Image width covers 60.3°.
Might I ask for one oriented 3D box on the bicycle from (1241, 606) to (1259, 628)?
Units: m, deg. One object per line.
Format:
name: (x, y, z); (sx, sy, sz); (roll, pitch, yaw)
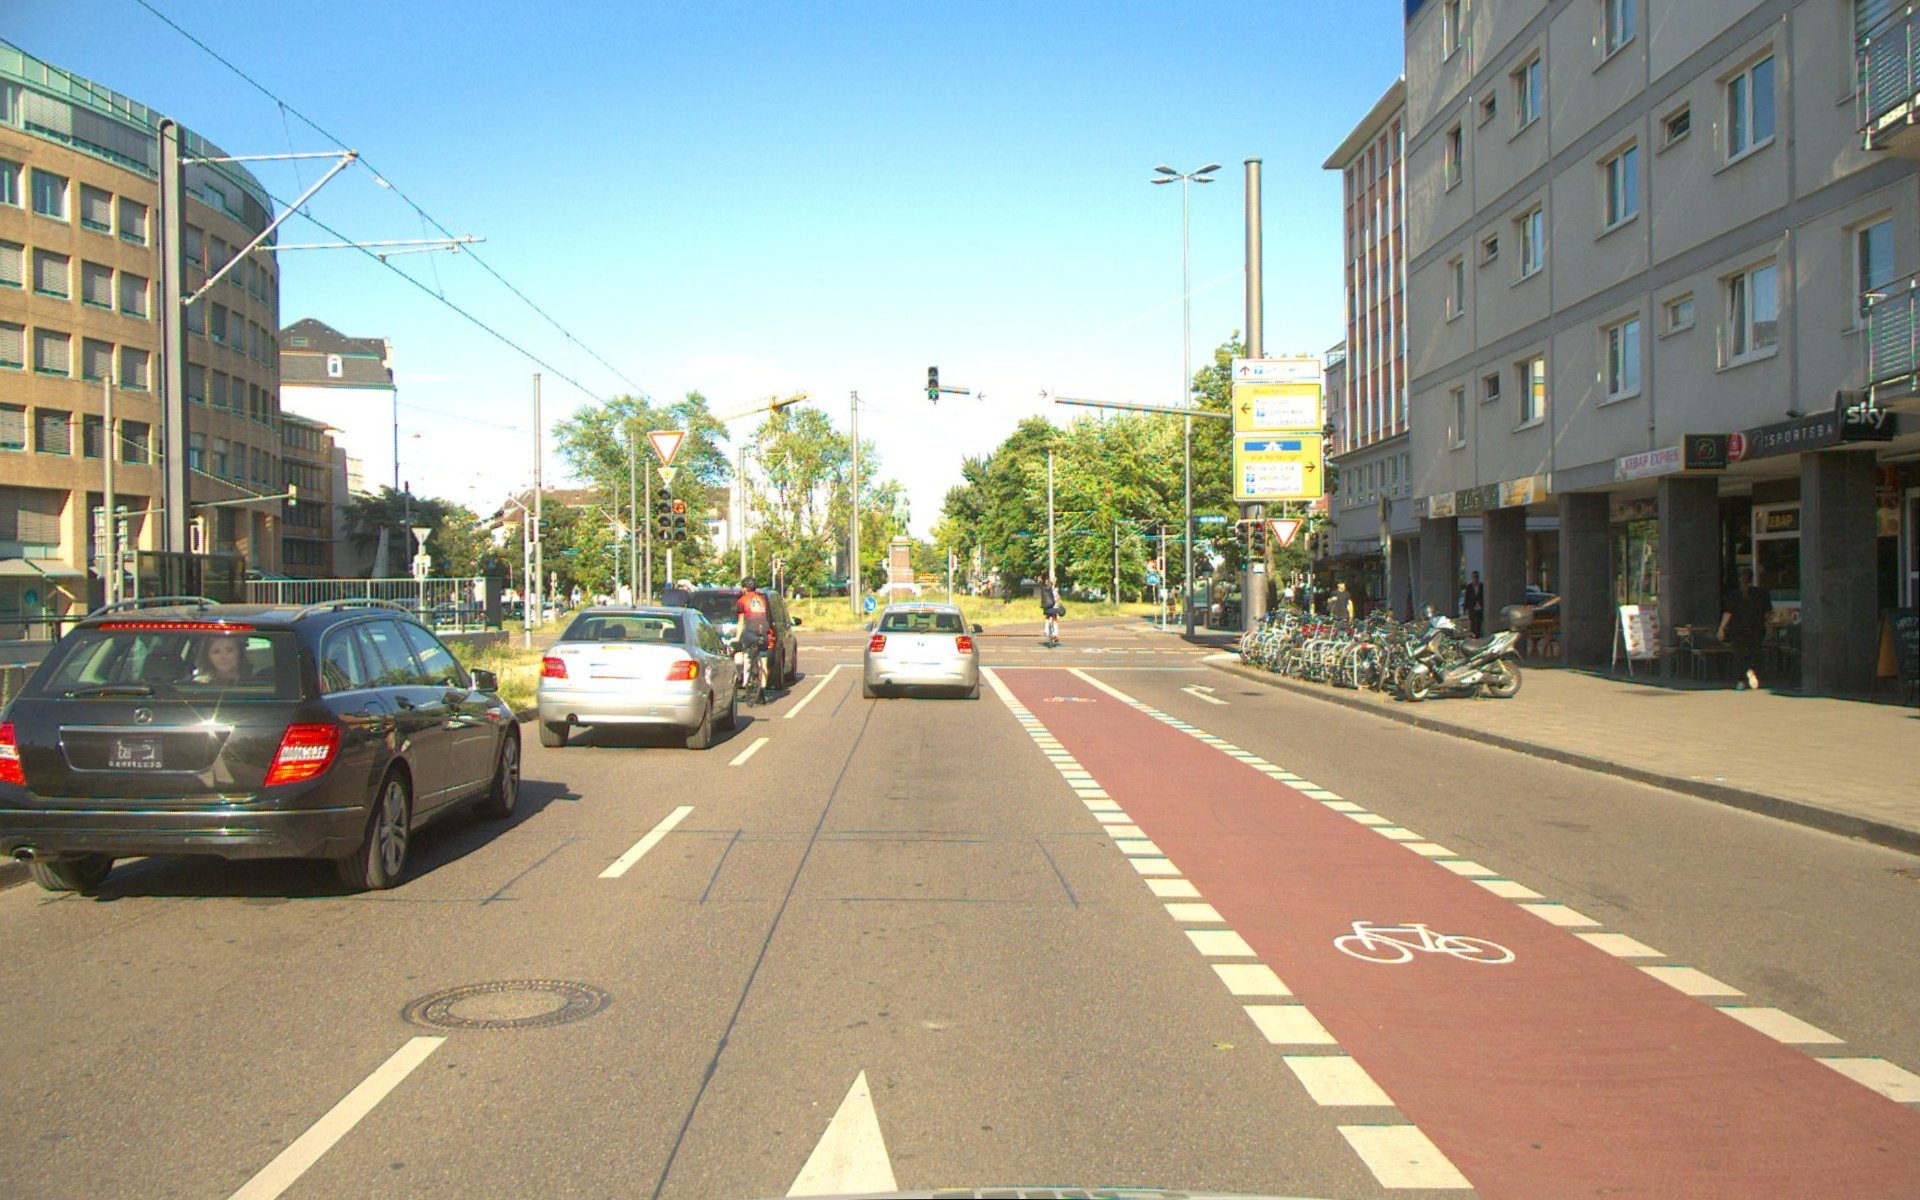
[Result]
bicycle: (13.410, 0.774, 76.625); (0.408, 1.026, 1.944); (1, 0, -2)

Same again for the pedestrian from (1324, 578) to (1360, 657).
pedestrian: (10.041, 0.454, 43.520); (0.774, 2.049, 0.870); (1, 0, 6)

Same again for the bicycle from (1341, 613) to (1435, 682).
bicycle: (6.947, 0.766, 26.847); (1.435, 1.086, 0.257); (-1, -1, 1)

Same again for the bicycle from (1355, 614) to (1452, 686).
bicycle: (6.980, 0.786, 26.059); (1.435, 1.086, 0.257); (-1, -1, 1)

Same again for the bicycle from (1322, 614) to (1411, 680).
bicycle: (6.958, 0.799, 28.304); (1.435, 1.086, 0.257); (-1, -1, 1)

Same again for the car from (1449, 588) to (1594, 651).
car: (19.188, 0.664, 56.609); (4.272, 2.049, 1.972); (1, 0, 0)

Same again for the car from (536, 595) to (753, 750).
car: (-3.233, 0.691, 17.645); (1.611, 1.446, 3.999); (1, 0, -1)

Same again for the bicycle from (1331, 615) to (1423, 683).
bicycle: (6.957, 0.820, 27.604); (1.435, 1.086, 0.257); (-1, -1, 1)

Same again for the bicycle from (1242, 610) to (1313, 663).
bicycle: (6.718, 0.764, 35.014); (1.435, 1.086, 0.257); (-1, -1, 1)

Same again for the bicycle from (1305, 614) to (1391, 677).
bicycle: (6.880, 0.802, 29.359); (1.435, 1.086, 0.257); (-1, -1, 1)

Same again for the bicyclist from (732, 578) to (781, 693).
bicyclist: (-2.885, 0.496, 23.412); (0.606, 1.599, 0.684); (0, 0, -13)

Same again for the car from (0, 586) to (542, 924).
car: (-3.698, 0.687, 9.568); (1.692, 1.496, 4.407); (0, 0, -4)

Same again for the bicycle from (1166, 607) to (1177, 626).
bicycle: (11.202, 0.867, 87.535); (0.344, 0.975, 1.572); (1, 0, 0)

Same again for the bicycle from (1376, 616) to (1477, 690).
bicycle: (7.106, 0.804, 25.192); (1.435, 1.086, 0.257); (-1, -1, 1)

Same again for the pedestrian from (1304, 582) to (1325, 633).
pedestrian: (13.949, 0.298, 65.080); (0.693, 1.953, 0.704); (1, 0, 2)

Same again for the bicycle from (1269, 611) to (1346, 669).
bicycle: (6.777, 0.772, 32.283); (1.435, 1.086, 0.257); (-1, -1, 1)

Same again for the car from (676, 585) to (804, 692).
car: (-3.602, 0.589, 27.695); (1.669, 1.650, 3.999); (-1, 0, -1)

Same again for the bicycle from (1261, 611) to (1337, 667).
bicycle: (6.739, 0.773, 32.913); (1.435, 1.086, 0.257); (-1, -1, 1)

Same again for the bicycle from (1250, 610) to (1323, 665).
bicycle: (6.761, 0.774, 34.300); (1.435, 1.086, 0.257); (-1, -1, 1)

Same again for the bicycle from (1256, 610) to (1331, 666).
bicycle: (6.768, 0.775, 33.596); (1.435, 1.086, 0.257); (-1, -1, 1)

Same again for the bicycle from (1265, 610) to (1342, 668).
bicycle: (6.775, 0.768, 32.606); (1.435, 1.086, 0.257); (-1, -1, 1)

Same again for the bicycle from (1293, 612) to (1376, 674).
bicycle: (6.817, 0.778, 30.128); (1.435, 1.086, 0.257); (-1, -1, 1)

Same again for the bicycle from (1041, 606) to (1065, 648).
bicycle: (2.491, 0.714, 44.431); (0.489, 1.107, 1.996); (1, 0, -1)

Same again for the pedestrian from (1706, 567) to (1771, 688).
pedestrian: (10.706, 0.374, 22.761); (0.543, 1.610, 0.574); (-2, 0, -1)

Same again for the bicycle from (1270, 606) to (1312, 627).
bicycle: (18.509, 0.923, 92.494); (2.270, 1.087, 0.556); (1, 0, 22)

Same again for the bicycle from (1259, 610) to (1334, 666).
bicycle: (6.754, 0.767, 33.235); (1.435, 1.086, 0.257); (-1, -1, 1)

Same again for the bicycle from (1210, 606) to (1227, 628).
bicycle: (12.009, 0.776, 76.981); (0.408, 1.026, 1.944); (1, 0, -2)

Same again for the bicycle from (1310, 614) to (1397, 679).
bicycle: (6.895, 0.816, 28.991); (1.435, 1.086, 0.257); (-1, -1, 1)

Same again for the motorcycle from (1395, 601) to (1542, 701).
motorcycle: (7.066, 0.706, 23.053); (1.816, 1.323, 0.652); (-2, -1, 2)

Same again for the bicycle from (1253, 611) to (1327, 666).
bicycle: (6.765, 0.782, 33.951); (1.435, 1.086, 0.257); (-1, -1, 1)

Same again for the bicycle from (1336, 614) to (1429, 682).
bicycle: (6.958, 0.792, 27.260); (1.435, 1.086, 0.257); (-1, -1, 1)

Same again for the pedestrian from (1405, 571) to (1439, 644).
pedestrian: (13.224, 0.222, 47.330); (0.858, 2.049, 0.913); (1, 0, 13)

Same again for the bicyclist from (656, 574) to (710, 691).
bicyclist: (-3.893, 0.451, 23.259); (0.604, 1.599, 0.686); (1, 0, 0)

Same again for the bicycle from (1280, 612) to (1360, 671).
bicycle: (6.810, 0.782, 31.327); (1.435, 1.086, 0.257); (-1, -1, 1)

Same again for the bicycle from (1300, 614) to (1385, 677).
bicycle: (6.869, 0.808, 29.701); (1.435, 1.086, 0.257); (-1, -1, 1)

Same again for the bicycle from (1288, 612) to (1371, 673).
bicycle: (6.806, 0.779, 30.469); (1.435, 1.086, 0.257); (-1, -1, 1)

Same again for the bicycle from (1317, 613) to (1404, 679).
bicycle: (6.940, 0.795, 28.673); (1.435, 1.086, 0.257); (-1, -1, 1)

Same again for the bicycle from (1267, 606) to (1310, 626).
bicycle: (18.249, 0.879, 91.826); (2.270, 1.087, 0.556); (1, 0, 22)

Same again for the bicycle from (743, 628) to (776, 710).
bicycle: (-2.844, 0.953, 23.374); (0.332, 1.075, 1.774); (1, 0, -11)

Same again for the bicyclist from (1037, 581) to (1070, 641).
bicyclist: (2.510, 0.294, 44.450); (0.769, 1.558, 0.894); (1, 0, -1)

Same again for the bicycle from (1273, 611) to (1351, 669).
bicycle: (6.803, 0.766, 31.964); (1.435, 1.086, 0.257); (-1, -1, 1)

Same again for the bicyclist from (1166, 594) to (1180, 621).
bicyclist: (11.285, 0.407, 87.636); (0.604, 1.404, 0.686); (1, 0, 0)

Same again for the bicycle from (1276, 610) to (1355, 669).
bicycle: (6.801, 0.756, 31.642); (1.435, 1.086, 0.257); (-1, -1, 1)

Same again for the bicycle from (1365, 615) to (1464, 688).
bicycle: (7.058, 0.797, 25.692); (1.435, 1.086, 0.257); (-1, -1, 1)

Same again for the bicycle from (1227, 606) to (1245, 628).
bicycle: (12.760, 0.783, 76.457); (0.408, 1.026, 1.944); (1, 0, -2)

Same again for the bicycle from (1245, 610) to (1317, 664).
bicycle: (6.726, 0.776, 34.666); (1.435, 1.086, 0.257); (-1, -1, 1)

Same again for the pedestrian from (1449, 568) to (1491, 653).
pedestrian: (12.505, 0.266, 40.573); (0.825, 2.049, 0.890); (1, 0, 8)

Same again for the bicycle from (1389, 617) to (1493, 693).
bicycle: (7.110, 0.808, 24.442); (1.435, 1.086, 0.257); (-1, -1, 1)

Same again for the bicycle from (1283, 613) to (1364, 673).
bicycle: (6.811, 0.798, 31.010); (1.435, 1.086, 0.257); (-1, -1, 1)

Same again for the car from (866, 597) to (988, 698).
car: (-0.499, 0.684, 25.925); (1.761, 1.439, 3.999); (-1, 0, -1)

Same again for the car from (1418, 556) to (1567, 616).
car: (19.269, -0.483, 60.004); (4.632, 2.049, 2.259); (1, 0, 0)

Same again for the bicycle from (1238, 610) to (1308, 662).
bicycle: (6.704, 0.771, 35.421); (1.435, 1.086, 0.257); (-1, -1, 1)

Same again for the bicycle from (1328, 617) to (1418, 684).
bicycle: (6.974, 0.842, 27.926); (1.435, 1.086, 0.257); (-1, -1, 1)

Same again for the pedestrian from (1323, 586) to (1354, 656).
pedestrian: (10.430, 0.567, 45.598); (0.808, 1.888, 0.917); (1, 0, 13)

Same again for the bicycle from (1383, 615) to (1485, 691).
bicycle: (7.109, 0.790, 24.813); (1.435, 1.086, 0.257); (-1, -1, 1)
